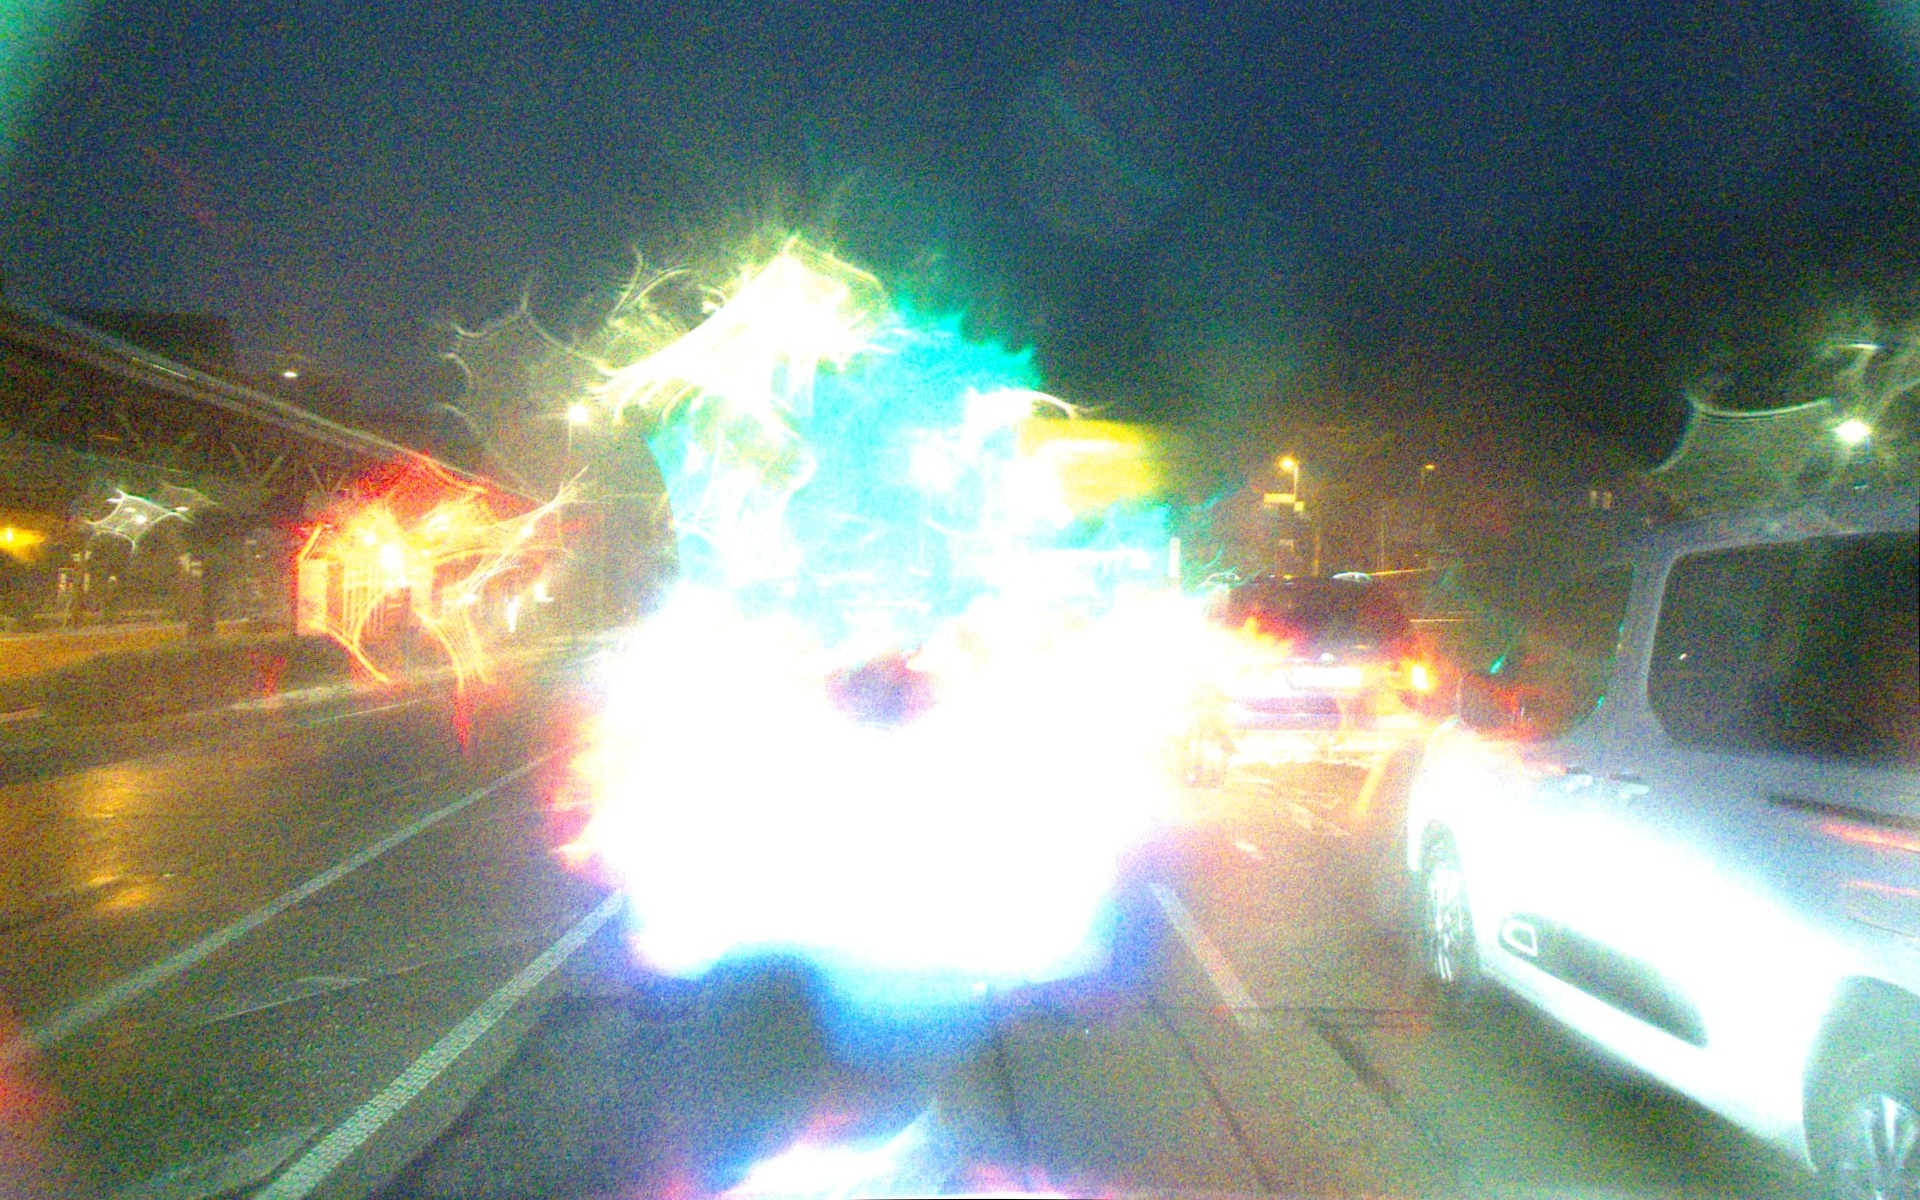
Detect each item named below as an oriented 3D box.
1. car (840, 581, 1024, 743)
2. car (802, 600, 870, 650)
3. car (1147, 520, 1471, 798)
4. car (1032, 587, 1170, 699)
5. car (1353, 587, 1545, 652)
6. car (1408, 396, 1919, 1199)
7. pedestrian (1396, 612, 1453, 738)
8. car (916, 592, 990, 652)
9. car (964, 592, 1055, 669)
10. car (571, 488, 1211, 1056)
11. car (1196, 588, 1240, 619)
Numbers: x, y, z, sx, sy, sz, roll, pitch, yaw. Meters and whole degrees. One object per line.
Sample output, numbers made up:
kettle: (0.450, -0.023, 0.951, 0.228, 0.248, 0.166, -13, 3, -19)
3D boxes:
car: (-0.333, 0.679, 19.873, 1.953, 1.713, 3.999, 1, 0, -1)
car: (-4.801, 0.941, 63.502, 1.960, 1.856, 3.985, 1, 0, -14)
car: (2.883, 0.462, 14.572, 1.929, 2.083, 3.999, 1, 0, -1)
car: (2.336, 0.704, 28.375, 1.953, 1.748, 3.999, 1, 0, -1)
car: (12.010, 0.457, 40.629, 4.244, 1.485, 1.849, 1, 0, 28)
car: (2.793, 0.564, 4.656, 1.814, 1.897, 4.339, 1, 0, -1)
pedestrian: (6.503, 1.036, 23.154, 0.610, 1.731, 0.540, 1, -1, -3)
car: (-0.264, 0.683, 52.379, 1.955, 1.804, 3.995, 1, 0, -6)
car: (1.115, 0.693, 39.268, 1.953, 1.699, 3.999, 1, 0, -1)
car: (-0.243, 0.553, 7.408, 1.973, 1.747, 4.451, 1, 0, -1)
car: (14.614, 0.181, 93.963, 1.827, 1.675, 3.962, -2, 0, 0)
